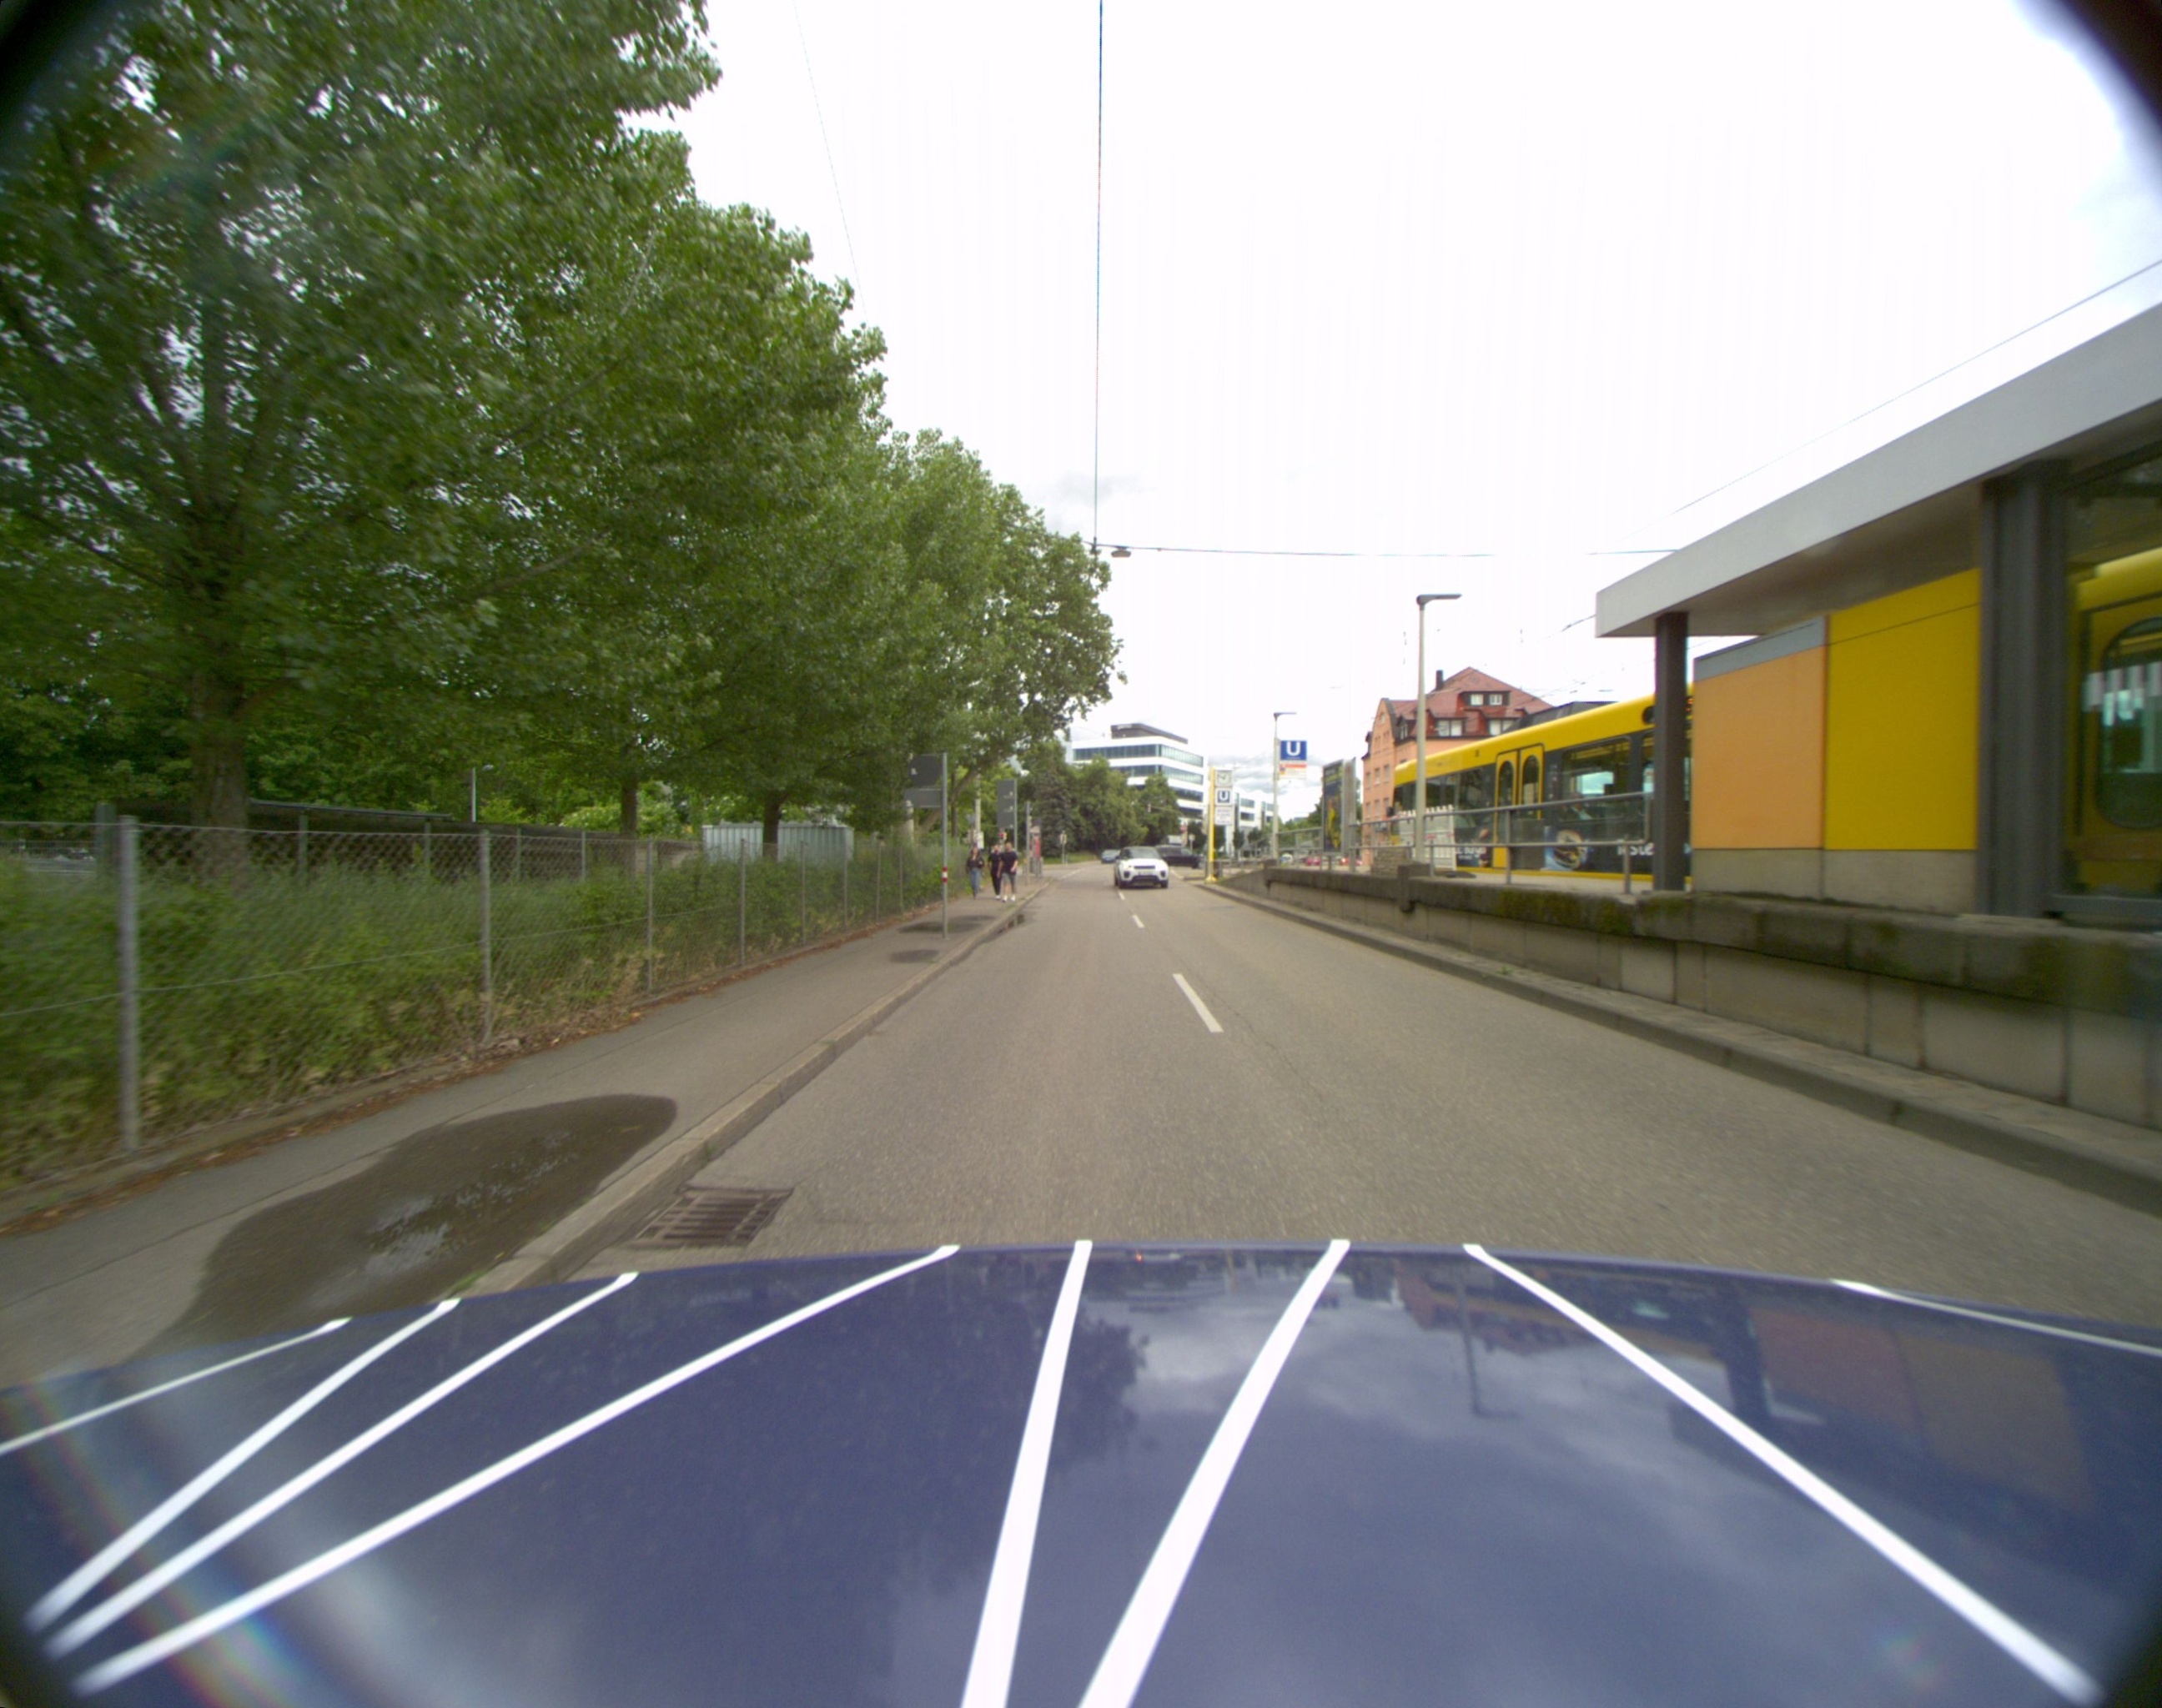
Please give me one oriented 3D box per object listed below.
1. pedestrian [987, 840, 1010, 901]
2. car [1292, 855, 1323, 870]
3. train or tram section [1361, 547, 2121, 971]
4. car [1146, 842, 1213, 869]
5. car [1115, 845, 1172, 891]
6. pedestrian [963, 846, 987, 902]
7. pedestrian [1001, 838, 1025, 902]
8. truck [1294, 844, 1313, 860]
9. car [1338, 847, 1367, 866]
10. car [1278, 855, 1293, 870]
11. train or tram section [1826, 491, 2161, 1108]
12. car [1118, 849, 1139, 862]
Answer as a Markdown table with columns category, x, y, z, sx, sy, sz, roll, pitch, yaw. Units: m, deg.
| category | x | y | z | sx | sy | sz | roll | pitch | yaw |
| --- | --- | --- | --- | --- | --- | --- | --- | --- | --- |
| pedestrian | -2.530 | 0.489 | 23.370 | 0.604 | 1.857 | 0.671 | 0 | 2 | 2 |
| car | 26.860 | 0.976 | 90.147 | 1.704 | 1.517 | 3.992 | -2 | 4 | -16 |
| train or tram section | 8.322 | -0.853 | 13.019 | 2.747 | 3.943 | 11.912 | 0 | 0 | 0 |
| car | 6.754 | 0.123 | 52.296 | 4.229 | 1.761 | 1.832 | 0 | -1 | -6 |
| car | 2.418 | 0.493 | 30.499 | 1.916 | 1.561 | 4.111 | 0 | 3 | -1 |
| pedestrian | -3.254 | 0.606 | 23.371 | 0.604 | 1.681 | 0.671 | 0 | 5 | 2 |
| pedestrian | -2.012 | 0.466 | 22.549 | 0.604 | 1.858 | 0.671 | 0 | 5 | 2 |
| truck | 35.514 | -0.272 | 121.168 | 2.315 | 2.408 | 5.663 | 2 | 1 | 23 |
| car | 23.773 | 0.173 | 66.691 | 1.765 | 1.521 | 3.742 | 1 | 2 | 10 |
| car | 29.435 | 1.231 | 109.521 | 1.597 | 1.409 | 3.381 | -7 | -9 | 7 |
| train or tram section | 8.255 | -0.368 | 1.093 | 2.747 | 3.943 | 11.912 | 0 | 0 | 0 |
| car | 5.542 | 0.142 | 88.530 | 1.746 | 1.418 | 4.169 | 0 | 0 | 14 |
